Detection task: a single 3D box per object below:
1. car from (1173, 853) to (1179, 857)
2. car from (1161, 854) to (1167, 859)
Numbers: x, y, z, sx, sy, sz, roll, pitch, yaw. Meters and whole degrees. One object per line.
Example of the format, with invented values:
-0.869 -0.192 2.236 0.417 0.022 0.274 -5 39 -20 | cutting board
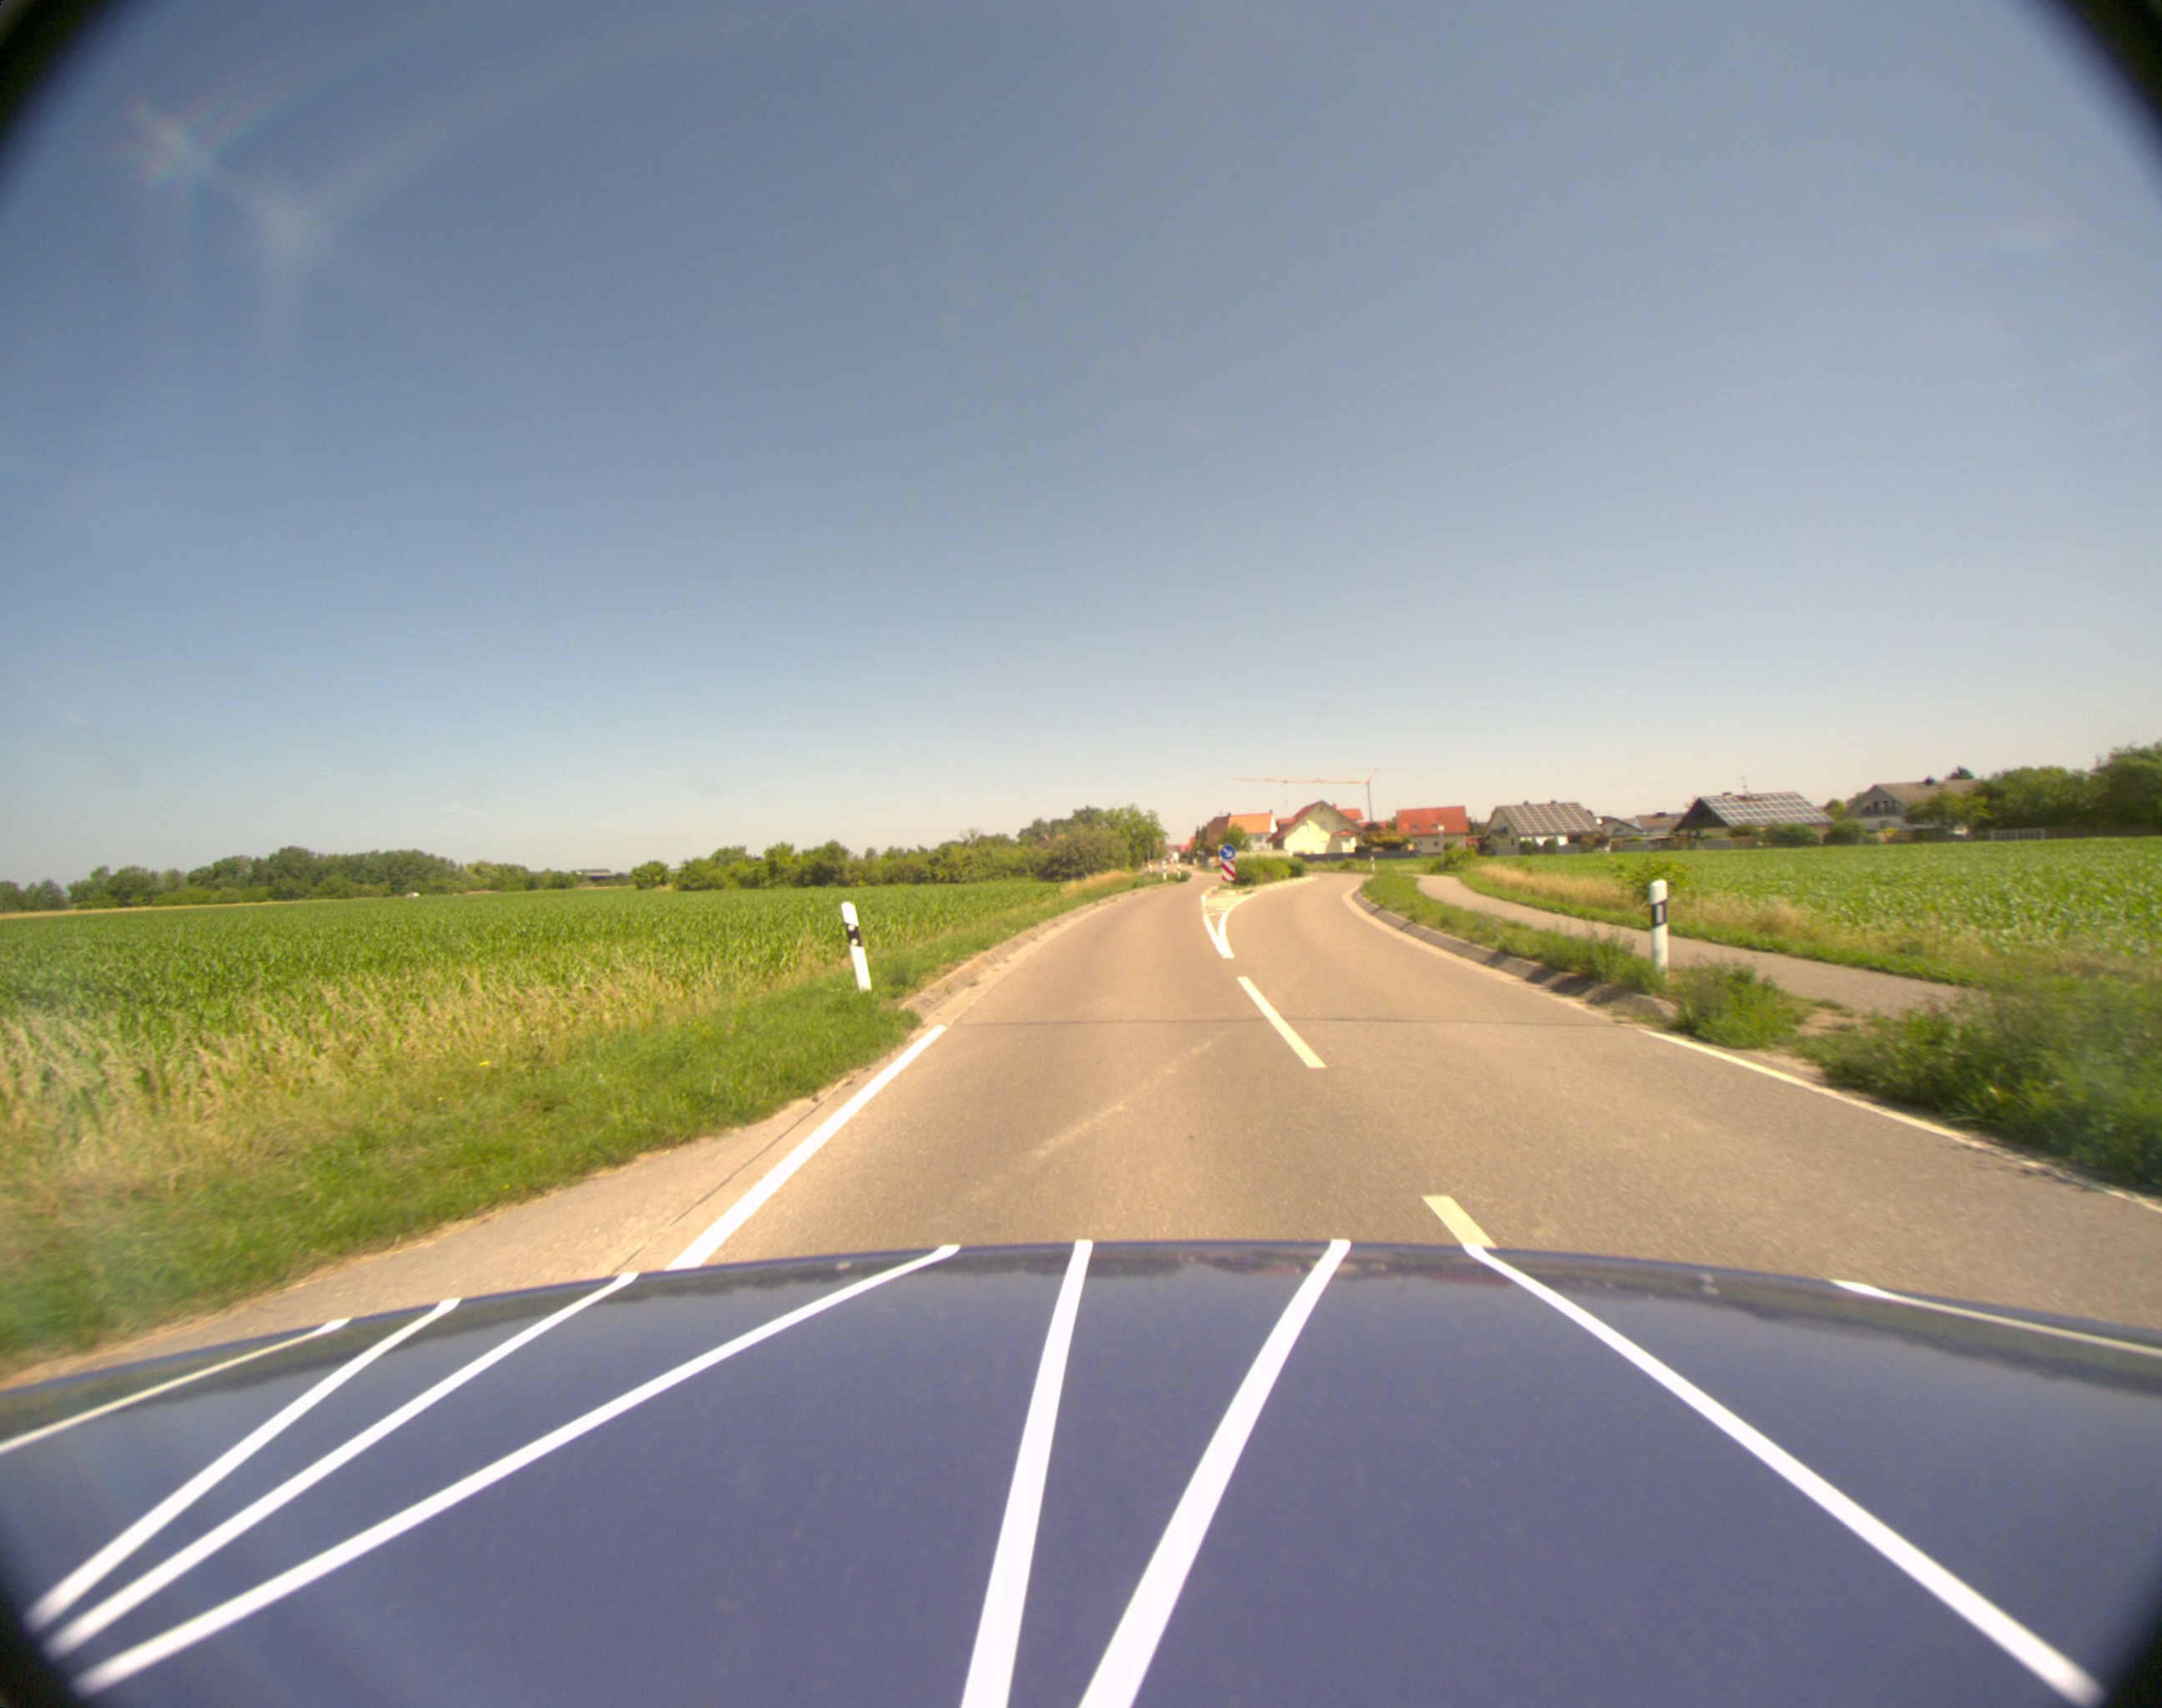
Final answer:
31.422 0.431 250.999 1.732 1.379 3.534 -2 0 7 | car
24.409 0.650 224.069 1.732 1.379 3.534 -2 0 7 | car
